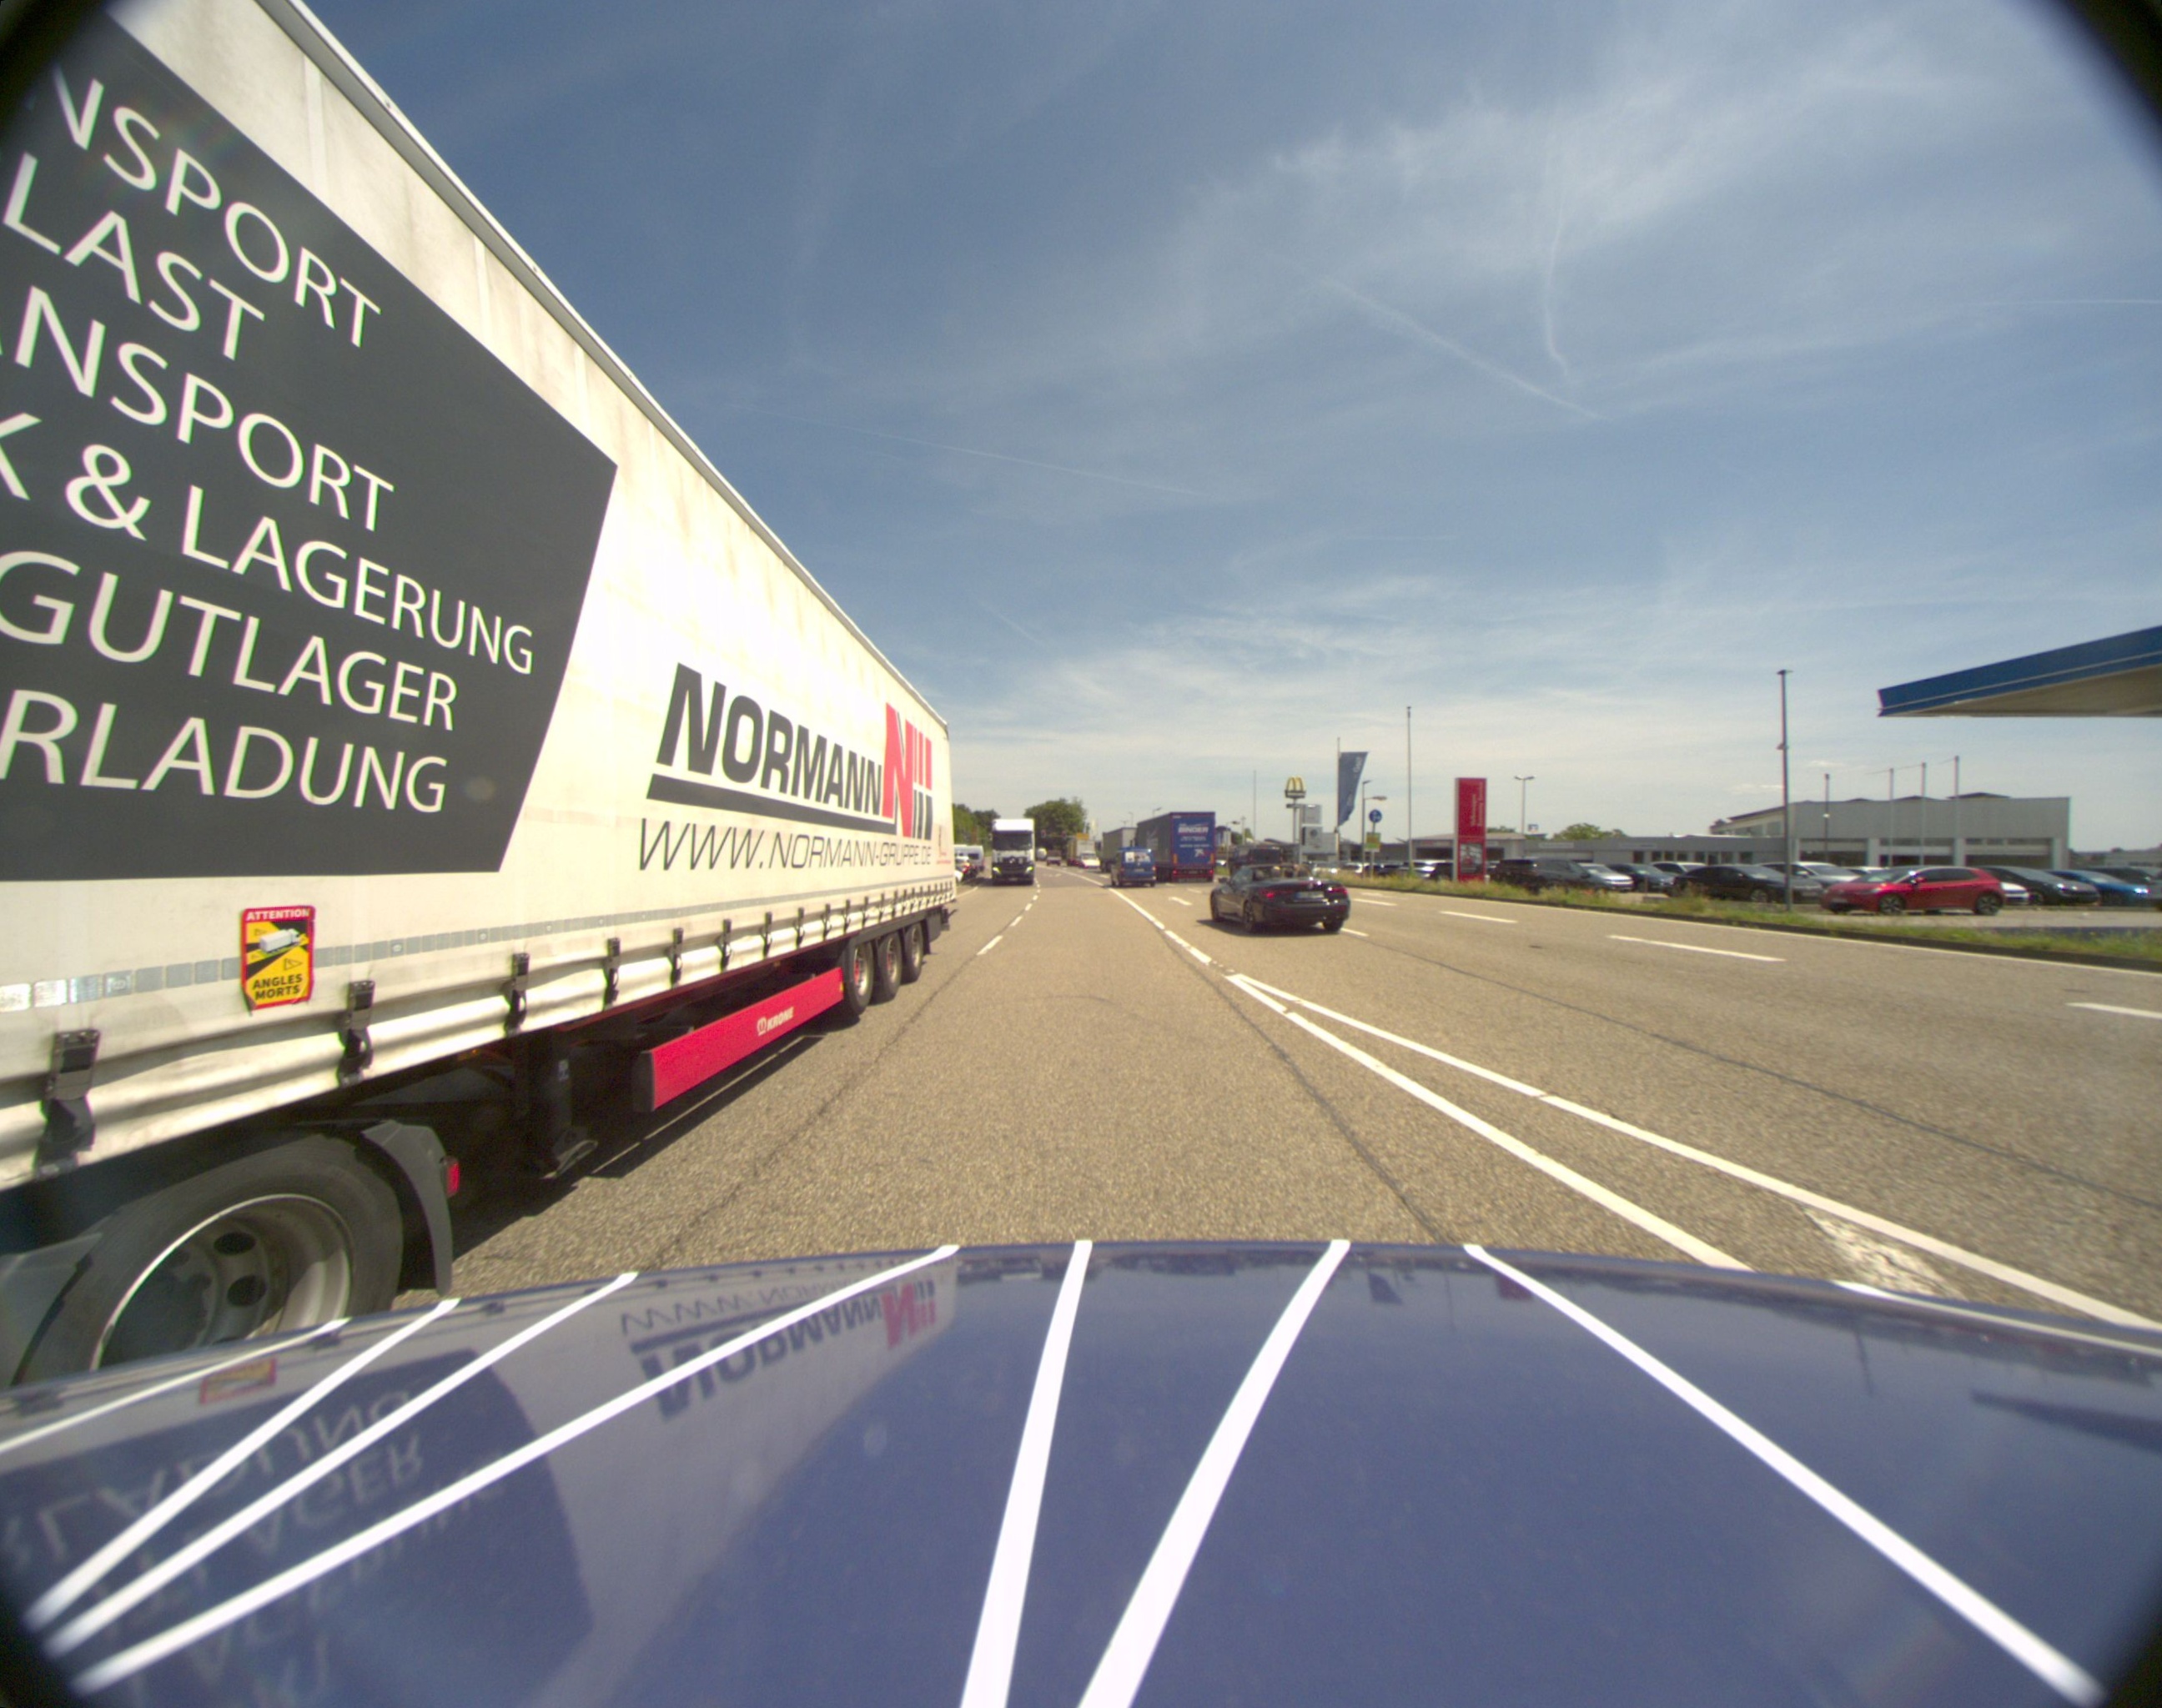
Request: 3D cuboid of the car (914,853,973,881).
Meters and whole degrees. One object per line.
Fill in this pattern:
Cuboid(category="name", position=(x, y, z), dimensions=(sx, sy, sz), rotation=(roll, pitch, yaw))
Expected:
Cuboid(category="car", position=(-8.871, 0.842, 49.138), dimensions=(3.538, 1.469, 1.831), rotation=(5, 0, -7))

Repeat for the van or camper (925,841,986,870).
Cuboid(category="van or camper", position=(-11.788, 0.149, 71.920), dimensions=(5.491, 2.714, 2.231), rotation=(0, 1, -4))

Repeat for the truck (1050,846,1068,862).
Cuboid(category="truck", position=(-3.583, 0.029, 121.941), dimensions=(2.403, 2.431, 6.868), rotation=(-1, 1, -4))

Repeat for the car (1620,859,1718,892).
Cuboid(category="car", position=(27.171, 0.966, 35.096), dimensions=(4.005, 1.390, 1.996), rotation=(-1, 0, -26))

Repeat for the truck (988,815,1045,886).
Cuboid(category="truck", position=(-4.084, -0.216, 46.961), dimensions=(2.983, 3.986, 6.321), rotation=(1, 0, -9))

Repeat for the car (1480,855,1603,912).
Cuboid(category="car", position=(15.480, 0.914, 25.508), dimensions=(4.006, 1.695, 1.838), rotation=(-1, 1, -31))

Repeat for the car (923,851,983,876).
Cuboid(category="car", position=(-9.597, 0.723, 56.997), dimensions=(4.028, 1.664, 2.197), rotation=(3, 0, -19))

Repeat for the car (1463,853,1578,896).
Cuboid(category="car", position=(16.901, 0.745, 29.201), dimensions=(4.006, 1.510, 1.995), rotation=(-1, 0, -28))

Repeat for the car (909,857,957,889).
Cuboid(category="car", position=(-7.908, 0.987, 40.903), dimensions=(2.000, 1.425, 3.997), rotation=(4, 1, -5))

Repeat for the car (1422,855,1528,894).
Cuboid(category="car", position=(16.315, 0.819, 31.459), dimensions=(4.005, 1.477, 1.816), rotation=(-1, 0, -24))

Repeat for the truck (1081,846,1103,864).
Cuboid(category="truck", position=(1.407, 0.150, 100.857), dimensions=(2.432, 2.327, 5.672), rotation=(1, 0, -3))

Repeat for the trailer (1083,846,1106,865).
Cuboid(category="trailer", position=(1.641, 0.170, 96.845), dimensions=(2.435, 2.325, 6.893), rotation=(1, 0, -3))

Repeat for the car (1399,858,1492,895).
Cuboid(category="car", position=(16.381, 0.973, 34.105), dimensions=(4.189, 1.577, 1.778), rotation=(0, 0, -31))

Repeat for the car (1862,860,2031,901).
Cuboid(category="car", position=(32.249, 0.938, 28.498), dimensions=(1.711, 1.388, 3.999), rotation=(-1, 0, -3))

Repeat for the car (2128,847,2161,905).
Cuboid(category="car", position=(37.769, 0.807, 25.054), dimensions=(3.998, 1.911, 1.862), rotation=(2, 0, -2))

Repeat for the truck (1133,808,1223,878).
Cuboid(category="truck", position=(6.000, -0.560, 50.690), dimensions=(2.852, 3.866, 17.000), rotation=(0, 0, -3))

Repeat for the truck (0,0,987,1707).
Cuboid(category="truck", position=(-3.448, -0.363, 5.982), dimensions=(2.981, 4.070, 17.632), rotation=(-3, 1, 0))

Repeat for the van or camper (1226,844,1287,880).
Cuboid(category="van or camper", position=(10.046, 0.422, 43.892), dimensions=(1.999, 1.924, 5.381), rotation=(-1, 0, -3))

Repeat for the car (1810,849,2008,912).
Cuboid(category="car", position=(26.262, 0.806, 24.231), dimensions=(3.996, 1.892, 2.001), rotation=(0, 0, 3))

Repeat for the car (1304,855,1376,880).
Cuboid(category="car", position=(15.561, 0.787, 45.630), dimensions=(4.269, 1.447, 1.777), rotation=(0, 1, -31))

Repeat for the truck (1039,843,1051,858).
Cuboid(category="truck", position=(-10.115, -1.067, 212.889), dimensions=(2.612, 3.995, 15.122), rotation=(1, 0, -5))

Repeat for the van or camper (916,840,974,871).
Cuboid(category="van or camper", position=(-13.254, 0.148, 74.236), dimensions=(5.384, 2.889, 2.231), rotation=(0, 1, -4))

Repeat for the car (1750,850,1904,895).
Cuboid(category="car", position=(27.506, 0.636, 28.208), dimensions=(1.711, 1.526, 3.999), rotation=(-1, 0, -3))

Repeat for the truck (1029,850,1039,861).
Cuboid(category="truck", position=(-16.337, 0.558, 264.570), dimensions=(2.853, 3.931, 17.079), rotation=(0, 0, -5))

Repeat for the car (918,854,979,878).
Cuboid(category="car", position=(-9.361, 0.822, 53.899), dimensions=(4.149, 1.414, 1.791), rotation=(4, 0, -8))

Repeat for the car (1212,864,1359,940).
Cuboid(category="car", position=(4.104, 0.906, 15.954), dimensions=(1.853, 1.263, 4.176), rotation=(-3, 0, -1))

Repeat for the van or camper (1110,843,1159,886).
Cuboid(category="van or camper", position=(2.765, 0.520, 40.405), dimensions=(1.842, 2.125, 5.340), rotation=(-2, 0, -4))

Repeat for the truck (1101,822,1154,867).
Cuboid(category="truck", position=(4.242, -0.970, 74.446), dimensions=(2.798, 3.867, 16.472), rotation=(-1, 1, -5))

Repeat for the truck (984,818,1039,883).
Cuboid(category="truck", position=(-5.258, -0.265, 54.682), dimensions=(2.983, 3.986, 14.110), rotation=(1, 0, -9))

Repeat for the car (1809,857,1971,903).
Cuboid(category="car", position=(29.988, 0.913, 28.355), dimensions=(1.711, 1.526, 3.999), rotation=(-1, 0, -3))

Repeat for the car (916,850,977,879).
Cuboid(category="car", position=(-9.080, 0.730, 51.548), dimensions=(3.866, 1.681, 1.942), rotation=(4, 0, -5))

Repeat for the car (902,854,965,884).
Cuboid(category="car", position=(-8.956, 0.903, 46.300), dimensions=(3.538, 1.469, 1.831), rotation=(5, 0, -7))

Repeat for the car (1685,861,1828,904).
Cuboid(category="car", position=(25.072, 0.997, 28.411), dimensions=(1.711, 1.433, 3.999), rotation=(-1, 0, -3))
